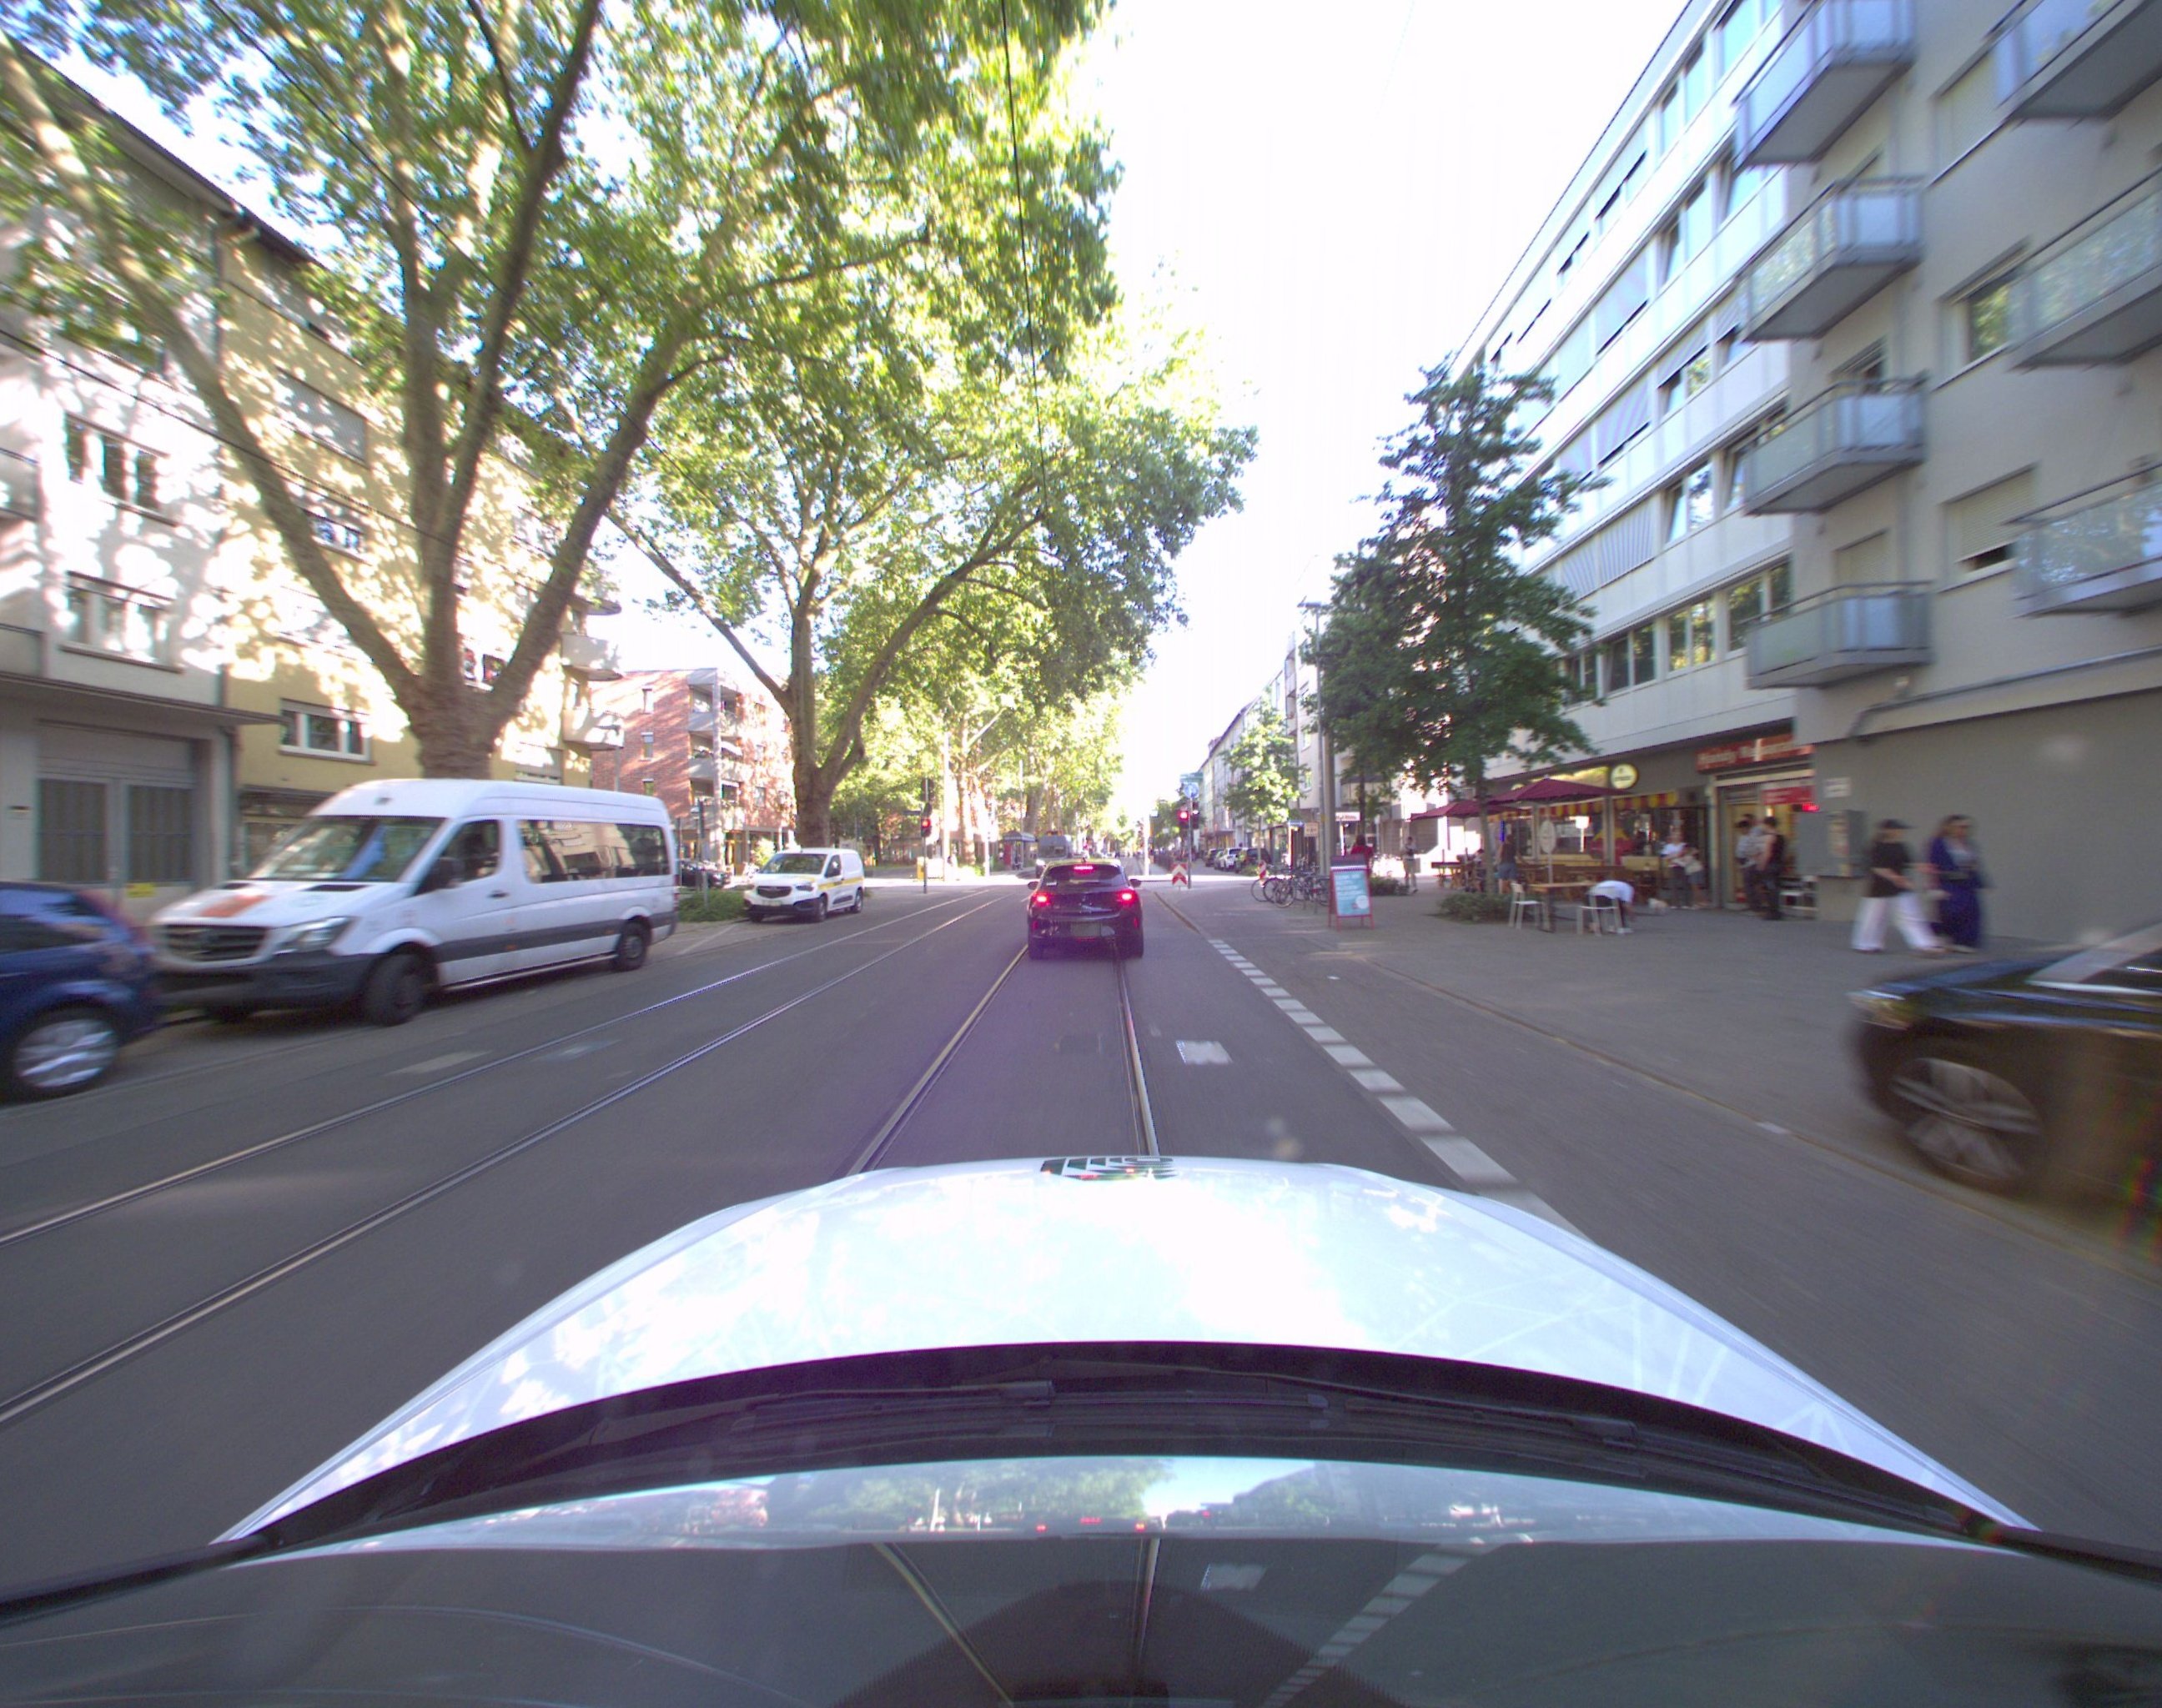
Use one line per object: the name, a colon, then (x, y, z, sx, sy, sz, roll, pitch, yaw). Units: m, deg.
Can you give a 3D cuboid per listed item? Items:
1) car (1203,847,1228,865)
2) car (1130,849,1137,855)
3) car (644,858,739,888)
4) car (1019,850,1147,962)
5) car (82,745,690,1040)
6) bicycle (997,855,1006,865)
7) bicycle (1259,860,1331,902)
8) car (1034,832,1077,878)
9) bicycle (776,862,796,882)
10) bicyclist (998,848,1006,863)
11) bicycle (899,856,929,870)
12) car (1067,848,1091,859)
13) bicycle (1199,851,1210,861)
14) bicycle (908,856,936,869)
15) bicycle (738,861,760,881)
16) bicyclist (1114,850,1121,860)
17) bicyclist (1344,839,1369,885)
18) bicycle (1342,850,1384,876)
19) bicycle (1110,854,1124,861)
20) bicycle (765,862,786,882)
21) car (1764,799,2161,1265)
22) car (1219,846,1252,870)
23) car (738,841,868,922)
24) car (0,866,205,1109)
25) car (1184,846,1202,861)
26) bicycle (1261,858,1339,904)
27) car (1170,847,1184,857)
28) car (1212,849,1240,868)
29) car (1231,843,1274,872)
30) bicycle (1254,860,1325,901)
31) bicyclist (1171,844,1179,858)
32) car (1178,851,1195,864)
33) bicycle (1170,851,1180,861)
car: (12.222, 0.188, 74.128, 1.849, 1.615, 4.402, 0, 0, 4)
car: (13.932, -0.476, 215.028, 1.738, 1.544, 4.002, 0, 0, 2)
car: (-20.403, 0.997, 42.789, 3.971, 1.508, 2.001, 0, 0, 2)
car: (0.079, 0.733, 13.181, 1.753, 1.508, 3.684, -2, 0, 1)
car: (-7.597, 0.353, 10.185, 2.098, 2.577, 6.031, 0, 0, 4)
bicycle: (-9.128, 0.703, 93.926, 0.779, 1.111, 2.596, 0, 0, 1)
bicycle: (5.676, 0.712, 21.636, 1.812, 1.100, 0.480, 0, -1, -5)
car: (-1.596, 0.075, 52.508, 2.104, 2.738, 6.120, -2, 0, 3)
bicycle: (-17.338, 1.032, 47.890, 0.539, 1.084, 1.538, 0, 2, 2)
bicyclist: (-9.134, 0.159, 93.782, 0.772, 1.750, 0.998, 0, -1, 1)
bicycle: (-14.570, 0.758, 70.985, 2.447, 1.219, 0.683, 1, 0, 3)
car: (-0.427, -0.068, 150.559, 4.376, 1.851, 1.997, 0, 0, -4)
bicycle: (14.327, 0.197, 94.280, 0.621, 1.136, 2.433, 0, 0, -7)
bicycle: (-14.040, 0.725, 71.819, 2.330, 1.166, 0.683, 0, 0, 3)
bicycle: (-19.637, 1.009, 48.143, 0.539, 1.084, 1.640, 0, 2, 2)
bicyclist: (6.405, 0.118, 144.320, 1.161, 1.748, 0.957, 0, -1, -2)
bicyclist: (10.395, 0.306, 30.716, 0.673, 1.717, 0.966, 0, -1, 5)
bicycle: (14.100, 0.438, 40.790, 1.908, 1.207, 0.511, -2, 1, -1)
bicycle: (6.420, 0.571, 144.320, 2.474, 1.240, 0.957, 0, 0, -2)
bicycle: (-17.962, 1.026, 47.914, 0.539, 1.084, 1.640, 0, 2, 2)
car: (4.581, 0.584, 2.283, 1.751, 1.587, 4.332, -5, 0, 3)
car: (10.938, 0.295, 57.975, 1.791, 1.606, 4.419, 0, 0, 4)
car: (-7.001, 0.643, 21.009, 1.756, 1.850, 4.320, 0, 0, 2)
car: (-8.020, 0.879, 4.363, 1.909, 1.562, 4.286, 0, 0, 2)
car: (14.927, -0.069, 108.565, 1.985, 1.952, 4.003, 0, 0, 3)
bicycle: (5.553, 0.687, 20.702, 1.808, 1.100, 0.526, -1, -1, 2)
car: (15.045, -0.360, 127.433, 1.985, 1.486, 4.004, 0, 0, 4)
car: (11.302, 0.320, 63.762, 1.736, 1.440, 4.251, 0, 0, 4)
car: (10.621, 0.221, 50.703, 1.985, 1.615, 4.449, -3, 0, 4)
bicycle: (5.684, 0.715, 22.180, 1.812, 1.100, 0.497, 0, -1, -5)
bicyclist: (11.700, -0.363, 101.280, 0.859, 1.759, 1.052, 0, -1, -3)
car: (14.871, 0.551, 115.155, 1.985, 1.797, 4.003, 0, 0, 3)
bicycle: (11.695, 0.262, 101.279, 0.859, 1.136, 2.393, 0, 0, -3)
